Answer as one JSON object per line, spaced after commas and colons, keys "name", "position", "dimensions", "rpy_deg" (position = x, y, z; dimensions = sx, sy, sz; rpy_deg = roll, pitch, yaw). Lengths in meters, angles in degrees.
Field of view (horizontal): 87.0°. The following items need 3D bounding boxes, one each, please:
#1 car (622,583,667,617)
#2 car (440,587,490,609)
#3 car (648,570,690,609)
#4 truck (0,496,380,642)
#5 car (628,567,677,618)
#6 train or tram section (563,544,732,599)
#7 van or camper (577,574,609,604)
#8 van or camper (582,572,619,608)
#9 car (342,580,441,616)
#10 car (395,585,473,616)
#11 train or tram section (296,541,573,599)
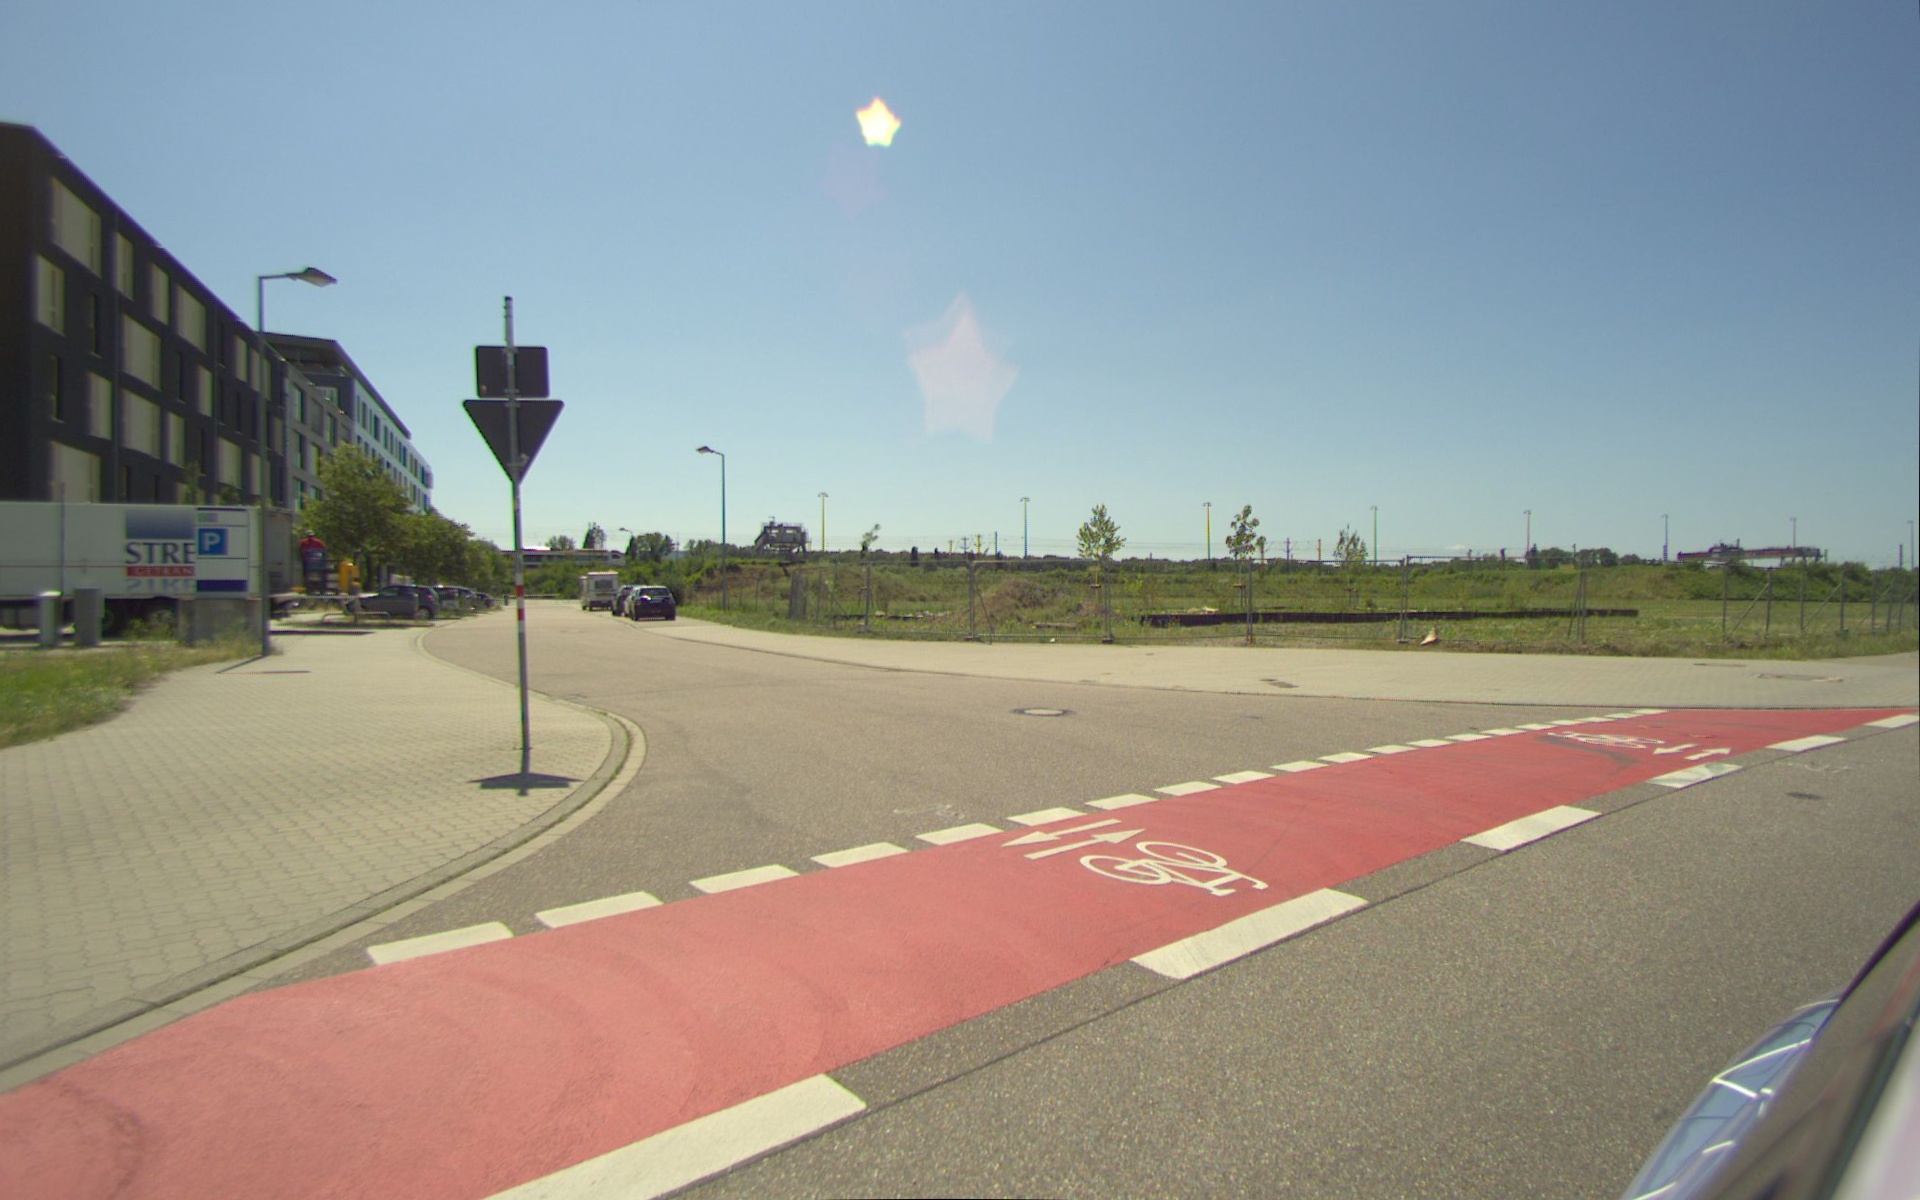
{"name": "car", "position": [-14.945, -0.018, 47.859], "dimensions": [1.712, 1.576, 4.053], "rpy_deg": [0, 0, -22]}
{"name": "car", "position": [-39.997, -0.171, 81.894], "dimensions": [3.581, 1.721, 1.621], "rpy_deg": [0, 0, -25]}
{"name": "car", "position": [-16.360, -0.564, 56.736], "dimensions": [1.841, 2.039, 3.923], "rpy_deg": [-1, -1, -22]}
{"name": "truck", "position": [-22.104, -0.802, 26.286], "dimensions": [11.884, 3.504, 3.025], "rpy_deg": [0, 2, -21]}
{"name": "car", "position": [-12.993, -0.322, 42.669], "dimensions": [1.841, 2.039, 3.924], "rpy_deg": [0, 0, -19]}
{"name": "train or tram section", "position": [-59.998, -5.233, 195.620], "dimensions": [30.556, 10.051, 9.620], "rpy_deg": [0, 0, -17]}
{"name": "van or camper", "position": [-32.485, -0.940, 89.460], "dimensions": [2.354, 2.567, 5.447], "rpy_deg": [0, 0, -23]}
{"name": "van or camper", "position": [-29.086, -0.791, 81.802], "dimensions": [2.512, 2.811, 6.438], "rpy_deg": [0, 0, -22]}
{"name": "car", "position": [-23.995, -0.105, 42.850], "dimensions": [3.507, 1.471, 1.698], "rpy_deg": [0, 0, -24]}
{"name": "car", "position": [-30.469, 0.008, 58.696], "dimensions": [3.934, 1.721, 1.678], "rpy_deg": [0, 0, -25]}
{"name": "train or tram section", "position": [-94.529, -5.191, 184.853], "dimensions": [43.840, 10.051, 9.620], "rpy_deg": [0, 0, -17]}
